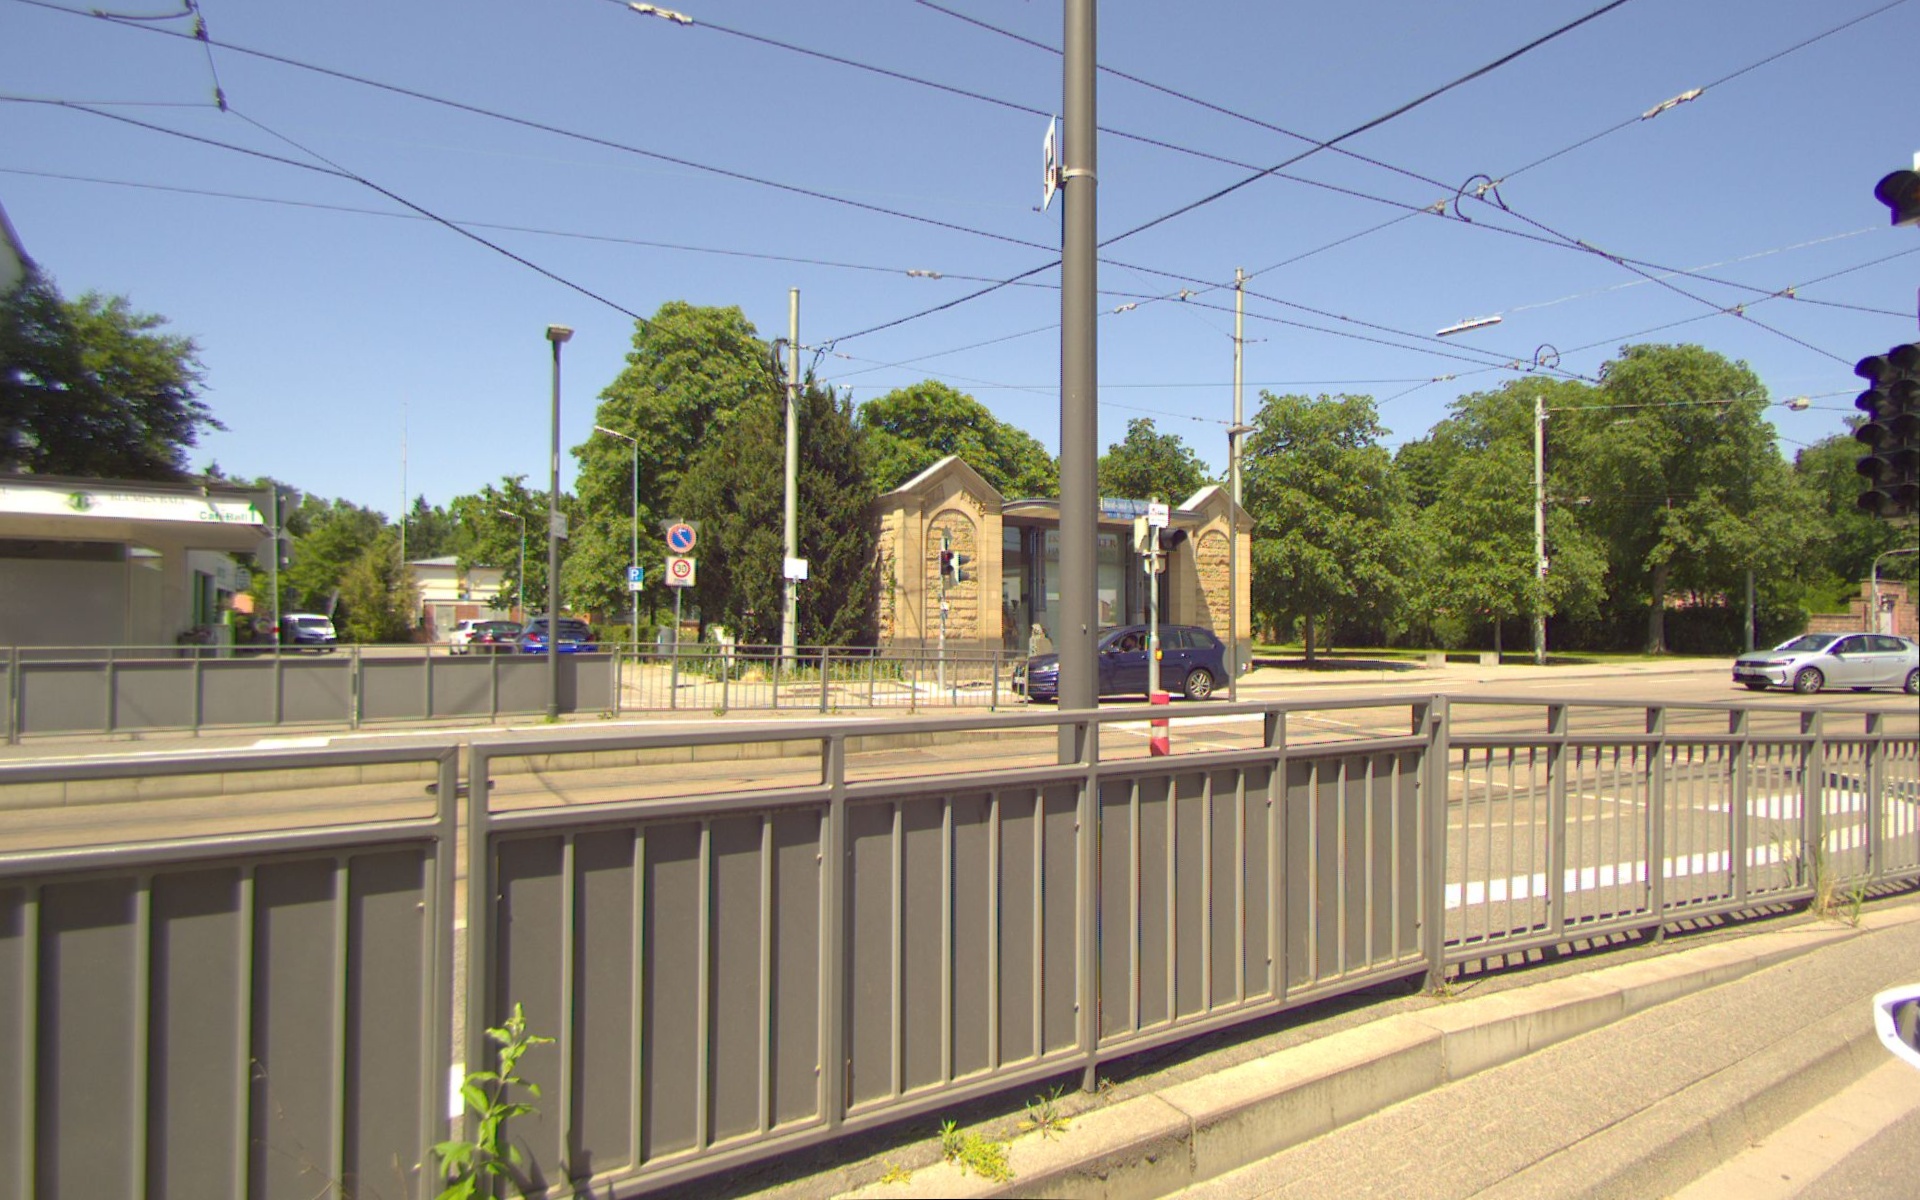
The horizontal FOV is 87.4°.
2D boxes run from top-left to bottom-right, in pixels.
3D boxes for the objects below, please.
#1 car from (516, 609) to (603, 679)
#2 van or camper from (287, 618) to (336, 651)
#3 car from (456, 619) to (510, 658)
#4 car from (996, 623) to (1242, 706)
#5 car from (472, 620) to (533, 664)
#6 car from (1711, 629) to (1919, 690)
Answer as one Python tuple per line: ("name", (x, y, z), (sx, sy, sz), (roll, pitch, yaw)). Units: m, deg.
("car", (-9.943, 1.030, 24.802), (1.799, 1.472, 3.934), (1, 1, -25))
("van or camper", (-32.134, 1.689, 49.732), (1.676, 1.587, 3.784), (1, -2, -38))
("car", (-18.743, 1.511, 39.390), (1.625, 1.465, 3.784), (1, -3, -29))
("car", (3.080, 1.198, 19.472), (4.412, 1.461, 1.853), (1, -1, -22))
("car", (-15.523, 1.423, 33.998), (1.624, 1.388, 3.785), (1, -3, -29))
("car", (20.615, 1.409, 23.957), (3.970, 1.380, 1.825), (0, -2, 2))
